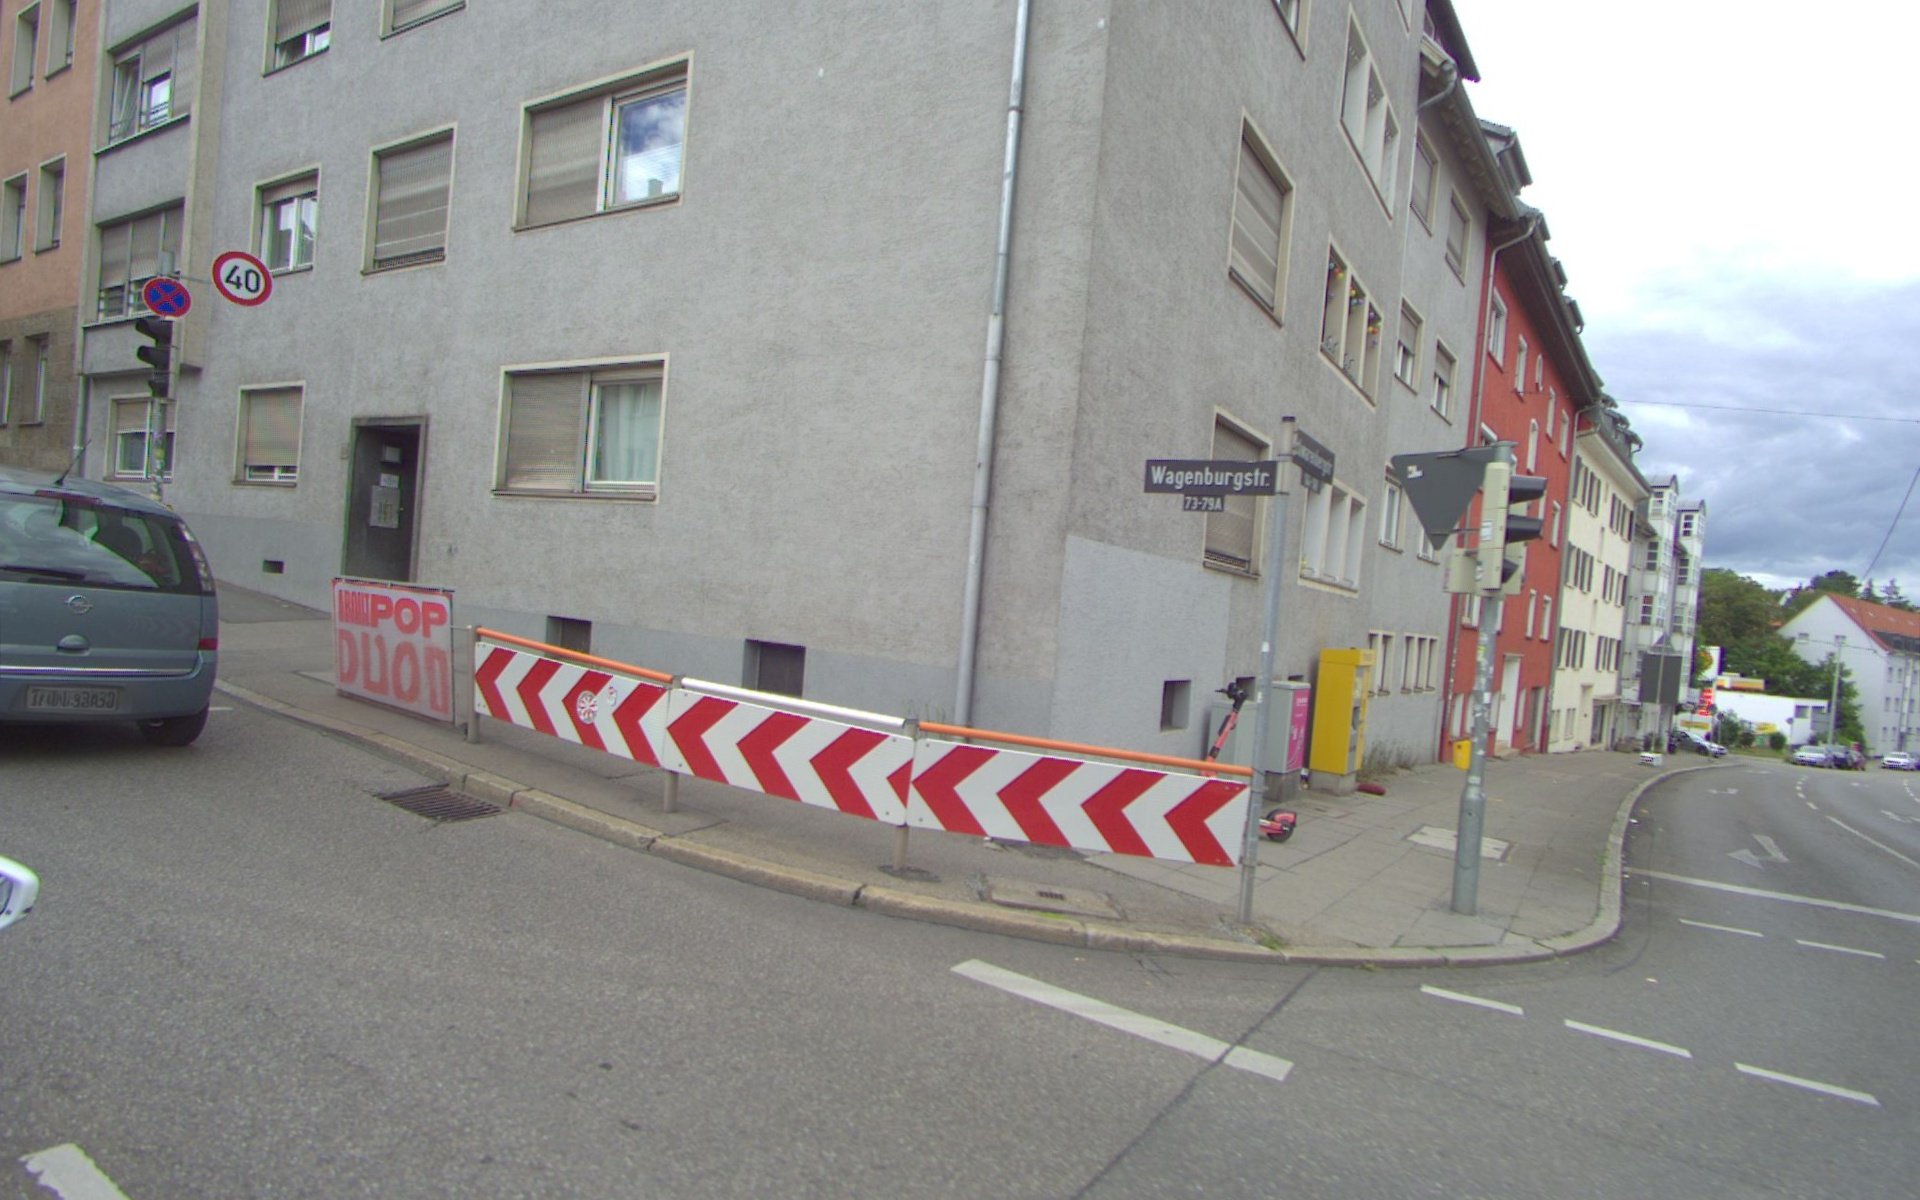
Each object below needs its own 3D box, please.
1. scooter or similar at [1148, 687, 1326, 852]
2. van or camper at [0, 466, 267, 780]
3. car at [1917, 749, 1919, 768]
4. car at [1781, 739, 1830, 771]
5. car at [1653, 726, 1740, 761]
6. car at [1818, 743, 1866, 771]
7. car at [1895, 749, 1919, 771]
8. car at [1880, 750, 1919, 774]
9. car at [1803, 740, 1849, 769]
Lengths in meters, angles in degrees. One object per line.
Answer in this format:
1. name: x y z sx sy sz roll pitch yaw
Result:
1. scooter or similar: 2.387 1.462 8.679 1.239 1.231 0.598 8 0 -22
2. van or camper: -6.349 -0.062 6.419 3.585 1.597 1.738 9 0 31
3. car: 93.735 15.468 96.655 3.967 1.704 1.857 9 0 -37
4. car: 58.781 10.790 69.922 3.973 1.789 1.855 9 0 -40
5. car: 47.176 9.198 64.543 1.981 1.453 3.965 9 -1 -33
6. car: 66.341 11.789 75.635 3.969 1.639 1.857 9 0 -38
7. car: 87.121 14.679 91.798 3.967 1.704 1.857 9 0 -37
8. car: 82.474 14.221 88.313 3.971 1.704 1.856 9 0 -39
9. car: 62.526 11.129 72.615 3.973 1.639 1.855 9 -1 -41
